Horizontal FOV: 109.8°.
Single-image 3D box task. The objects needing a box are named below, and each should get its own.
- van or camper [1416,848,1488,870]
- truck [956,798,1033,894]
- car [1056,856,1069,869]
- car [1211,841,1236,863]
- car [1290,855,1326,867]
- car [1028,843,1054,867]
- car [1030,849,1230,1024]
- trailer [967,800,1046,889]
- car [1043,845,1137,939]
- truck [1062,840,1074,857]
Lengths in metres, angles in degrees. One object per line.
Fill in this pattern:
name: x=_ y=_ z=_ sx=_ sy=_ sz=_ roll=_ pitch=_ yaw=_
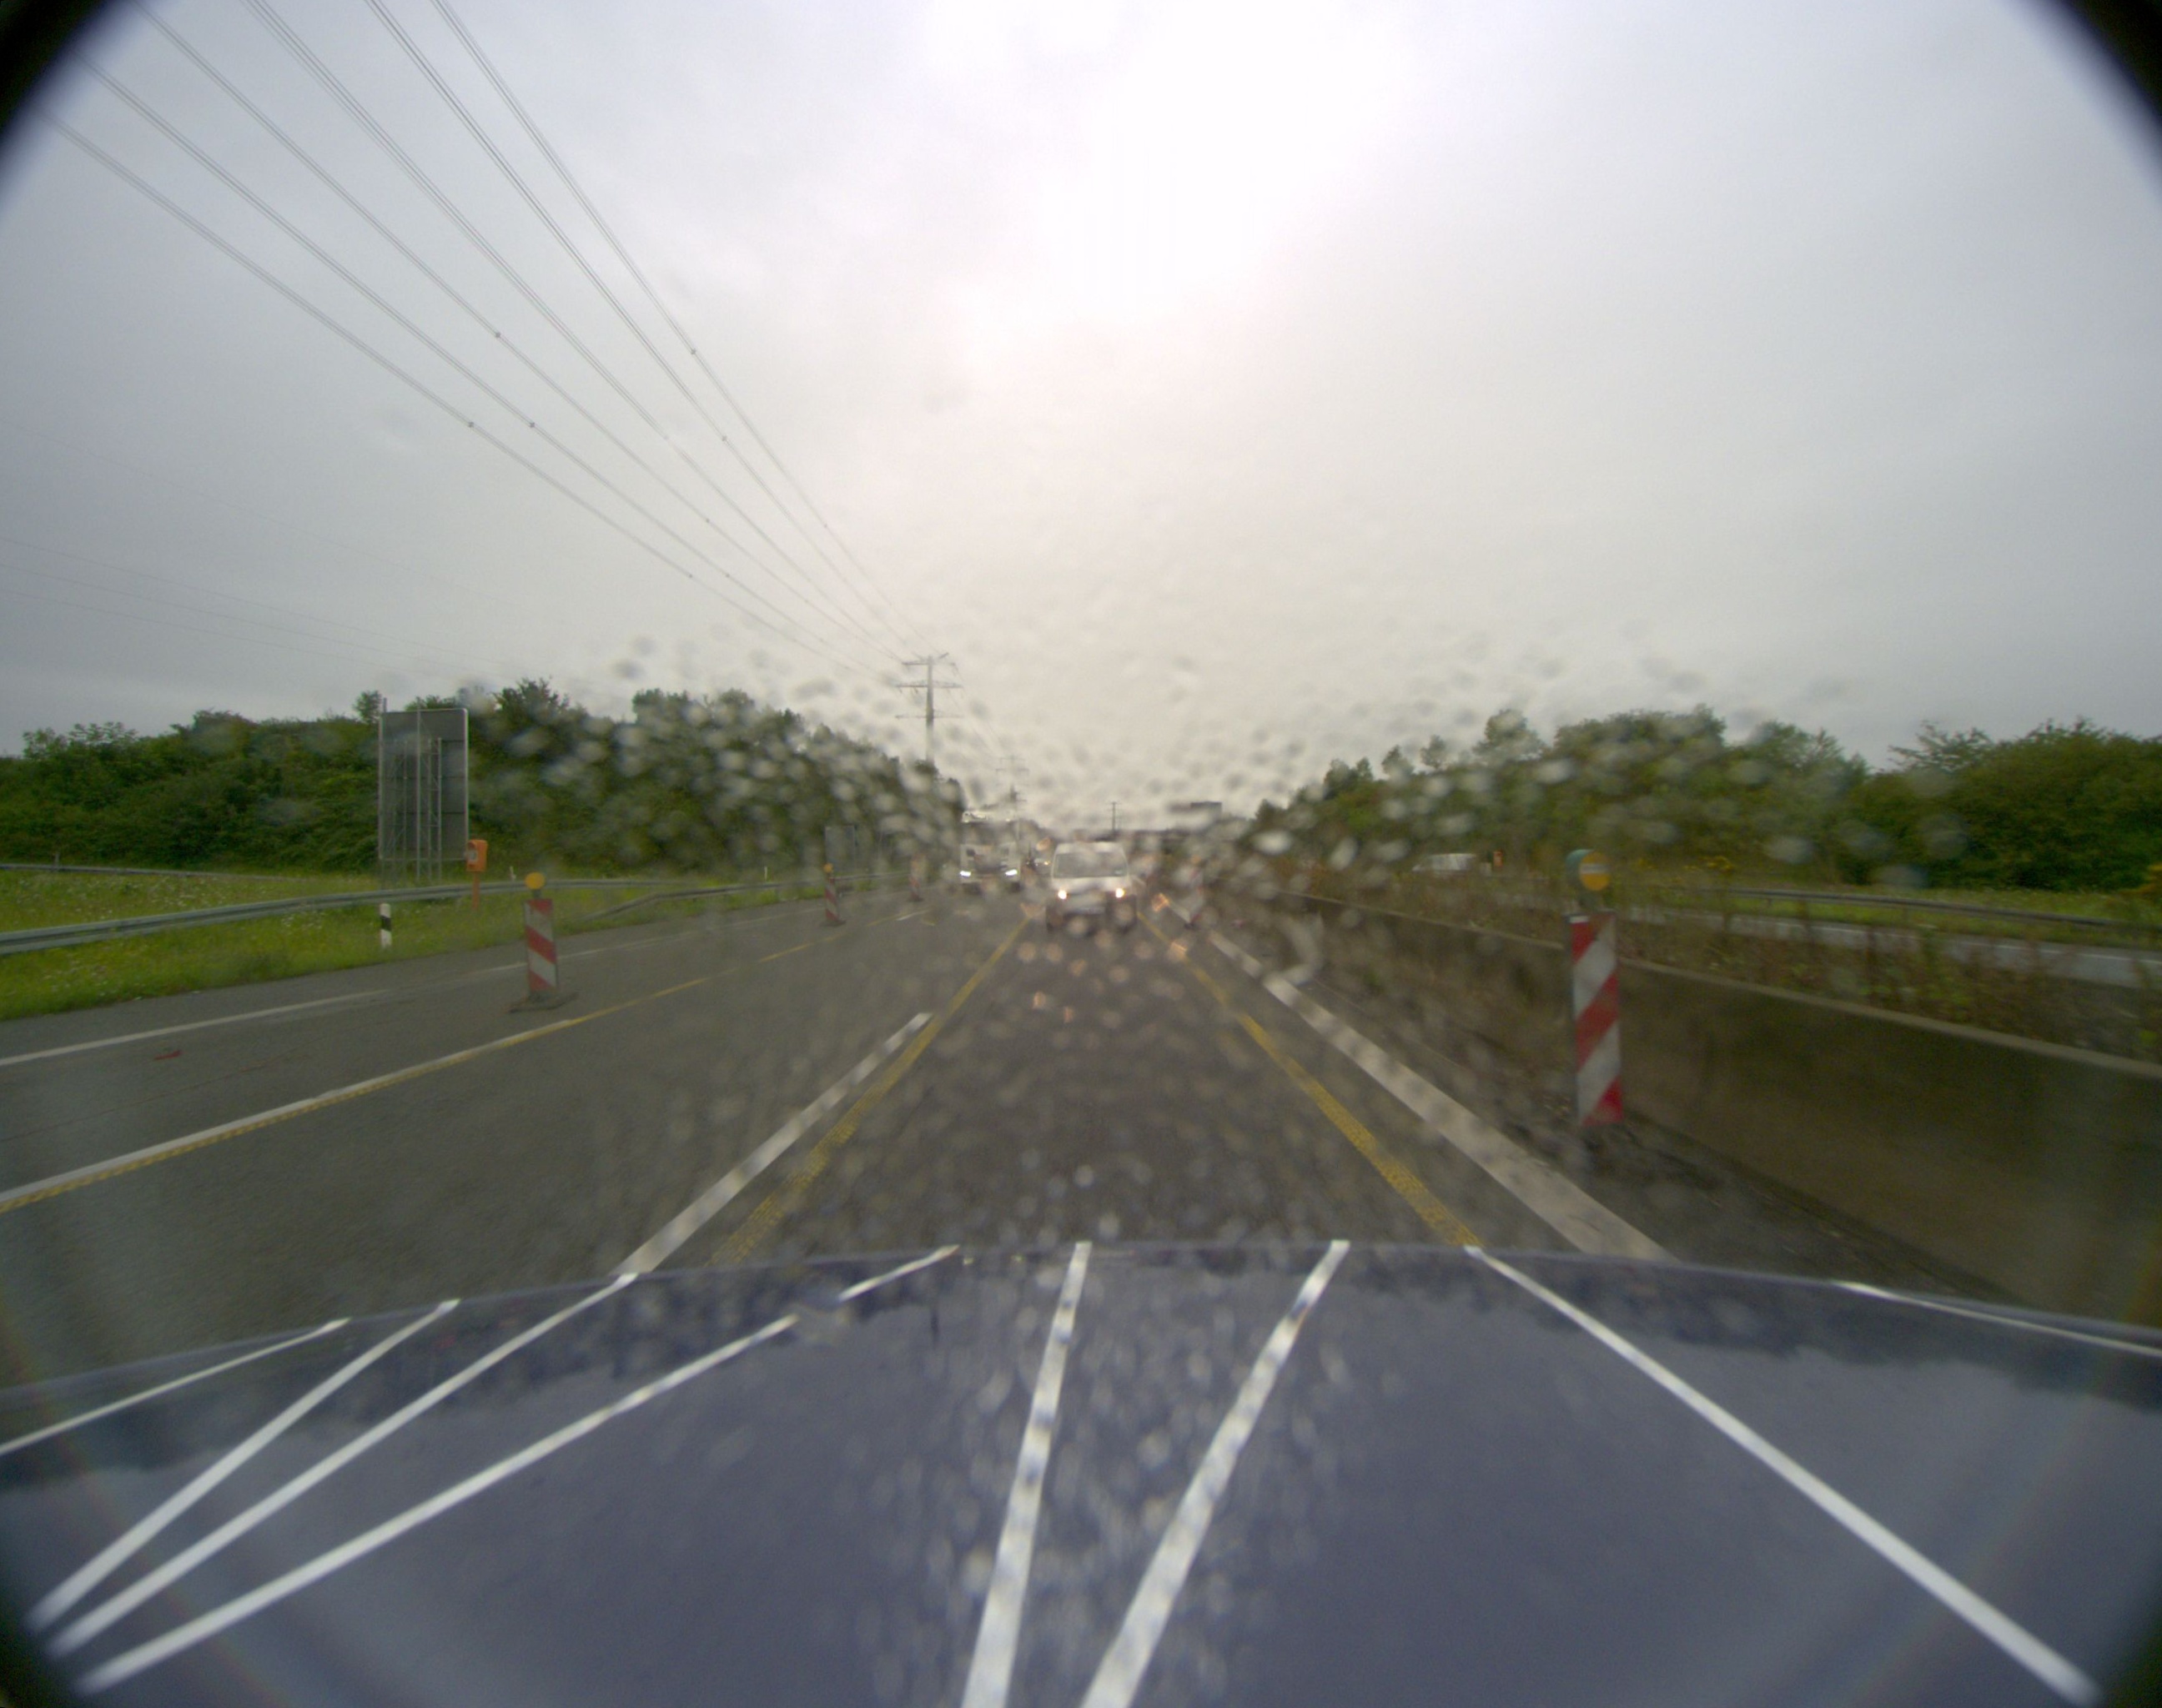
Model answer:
van or camper: x=35.493 y=0.470 z=72.893 sx=2.004 sy=2.002 sz=5.829 roll=-1 pitch=1 yaw=-43
truck: x=-3.773 y=-0.372 z=34.416 sx=2.748 sy=3.912 sz=5.396 roll=-2 pitch=1 yaw=0
car: x=-2.993 y=1.380 z=123.840 sx=1.998 sy=2.002 sz=3.999 roll=-2 pitch=1 yaw=1
car: x=17.413 y=-0.306 z=93.073 sx=2.055 sy=2.594 sz=5.846 roll=-2 pitch=1 yaw=1
car: x=26.154 y=0.796 z=87.557 sx=1.923 sy=1.395 sz=3.992 roll=0 pitch=1 yaw=-23
car: x=-3.540 y=0.068 z=67.930 sx=1.998 sy=2.002 sz=3.999 roll=-2 pitch=1 yaw=1
car: x=0.517 y=0.825 z=9.608 sx=1.998 sy=1.750 sz=4.000 roll=0 pitch=0 yaw=1
trailer: x=-3.726 y=-0.537 z=41.868 sx=2.809 sy=3.980 sz=14.146 roll=-2 pitch=1 yaw=0
car: x=0.134 y=0.731 z=17.114 sx=1.770 sy=1.774 sz=4.646 roll=-2 pitch=0 yaw=-1
truck: x=-2.731 y=-1.196 z=164.835 sx=2.276 sy=3.682 sz=6.654 roll=-2 pitch=1 yaw=1
